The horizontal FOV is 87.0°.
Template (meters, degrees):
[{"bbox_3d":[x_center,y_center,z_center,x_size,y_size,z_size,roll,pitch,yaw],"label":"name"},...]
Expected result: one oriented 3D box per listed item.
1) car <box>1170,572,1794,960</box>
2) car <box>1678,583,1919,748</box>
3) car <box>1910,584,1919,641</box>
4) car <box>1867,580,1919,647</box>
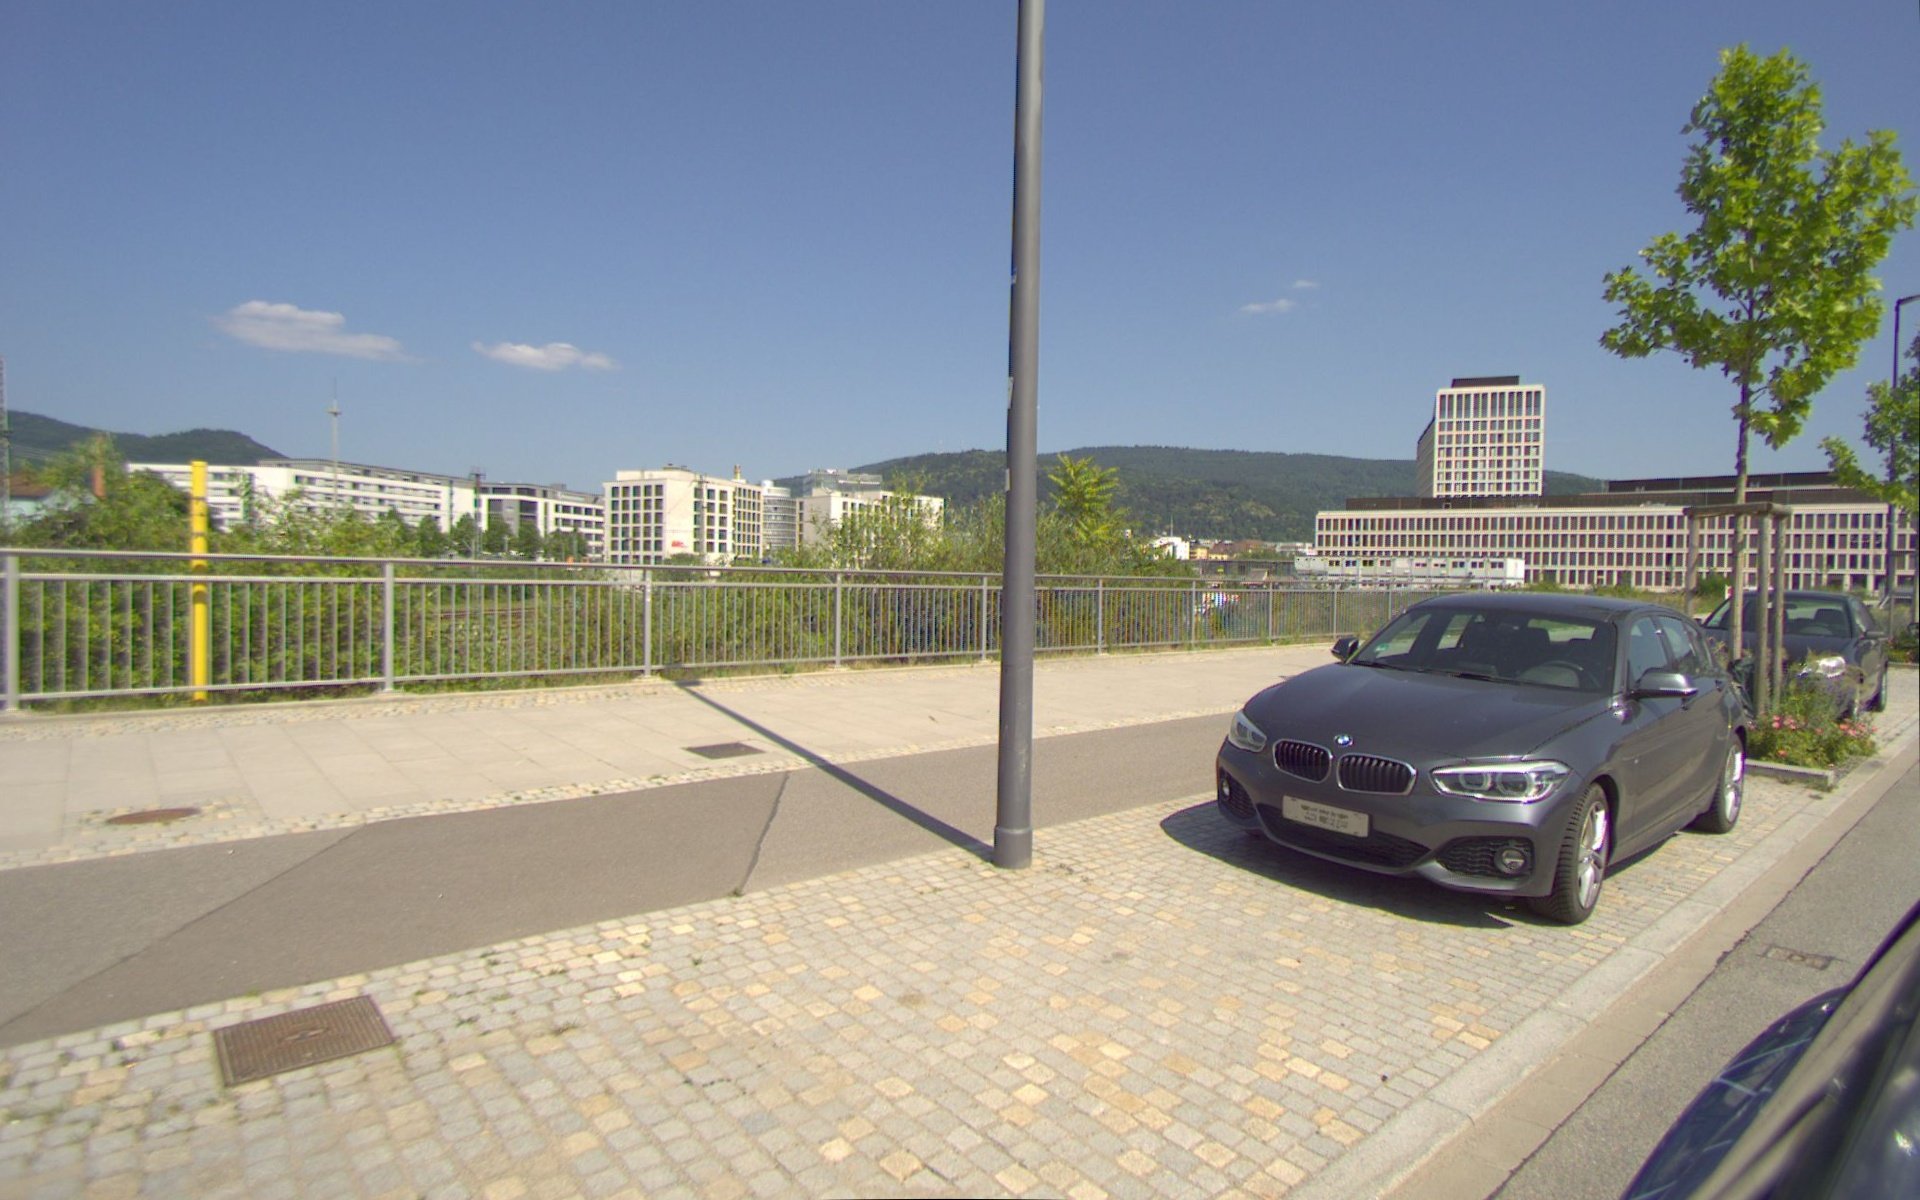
[{"bbox_3d":[3.238,0.584,5.877,4.194,1.418,1.708,-1,4,-40],"label":"car"},{"bbox_3d":[9.967,0.611,11.906,3.889,1.480,1.706,-2,5,-43],"label":"car"},{"bbox_3d":[26.954,0.320,27.101,4.011,1.481,1.708,0,1,-39],"label":"car"},{"bbox_3d":[22.470,0.288,23.445,3.885,1.481,1.707,0,1,-41],"label":"car"}]
